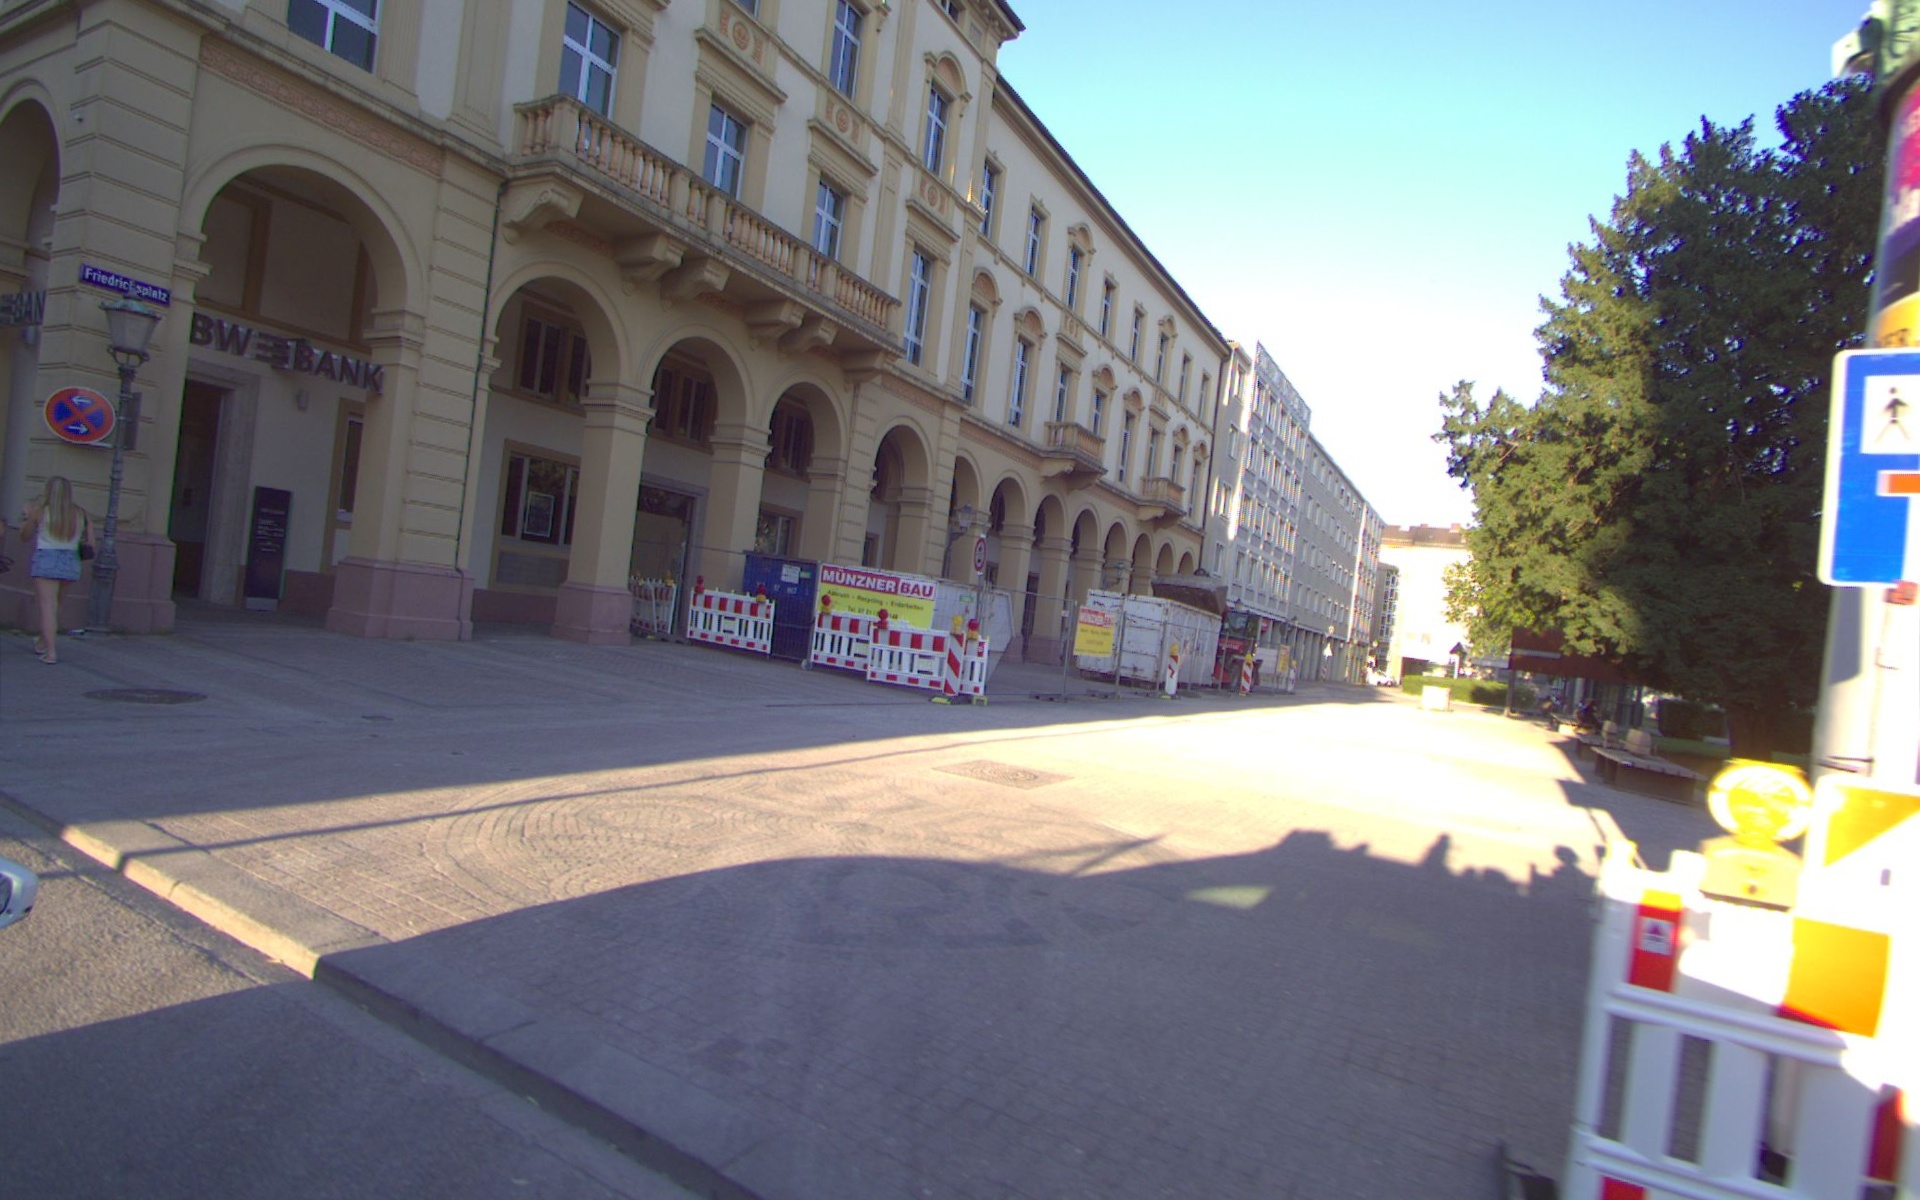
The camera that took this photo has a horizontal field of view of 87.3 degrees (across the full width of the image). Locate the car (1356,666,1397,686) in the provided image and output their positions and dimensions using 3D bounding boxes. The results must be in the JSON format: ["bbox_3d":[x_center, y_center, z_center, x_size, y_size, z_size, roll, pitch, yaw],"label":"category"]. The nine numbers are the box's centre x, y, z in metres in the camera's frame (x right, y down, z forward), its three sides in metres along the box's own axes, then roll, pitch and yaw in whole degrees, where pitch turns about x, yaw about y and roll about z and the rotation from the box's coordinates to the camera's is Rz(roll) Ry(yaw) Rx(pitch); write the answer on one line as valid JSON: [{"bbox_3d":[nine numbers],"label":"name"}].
[{"bbox_3d":[45.240,8.261,109.281,3.915,1.615,1.718,6,0,29],"label":"car"}]

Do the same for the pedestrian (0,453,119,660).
[{"bbox_3d":[-8.487,-0.397,9.380,0.759,1.826,0.637,6,1,29],"label":"pedestrian"}]

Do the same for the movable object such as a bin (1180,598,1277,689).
[{"bbox_3d":[10.158,1.696,37.822,1.967,3.045,4.894,7,0,31],"label":"movable object such as a bin"}]

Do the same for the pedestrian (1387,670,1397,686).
[{"bbox_3d":[47.427,8.596,110.501,0.834,1.616,0.644,7,1,29],"label":"pedestrian"}]

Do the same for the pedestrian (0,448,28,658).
[{"bbox_3d":[-8.799,-0.448,8.795,0.759,1.826,0.637,6,1,29],"label":"pedestrian"}]

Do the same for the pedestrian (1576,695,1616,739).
[{"bbox_3d":[20.946,3.844,33.136,0.910,1.267,0.709,7,0,26],"label":"pedestrian"}]
